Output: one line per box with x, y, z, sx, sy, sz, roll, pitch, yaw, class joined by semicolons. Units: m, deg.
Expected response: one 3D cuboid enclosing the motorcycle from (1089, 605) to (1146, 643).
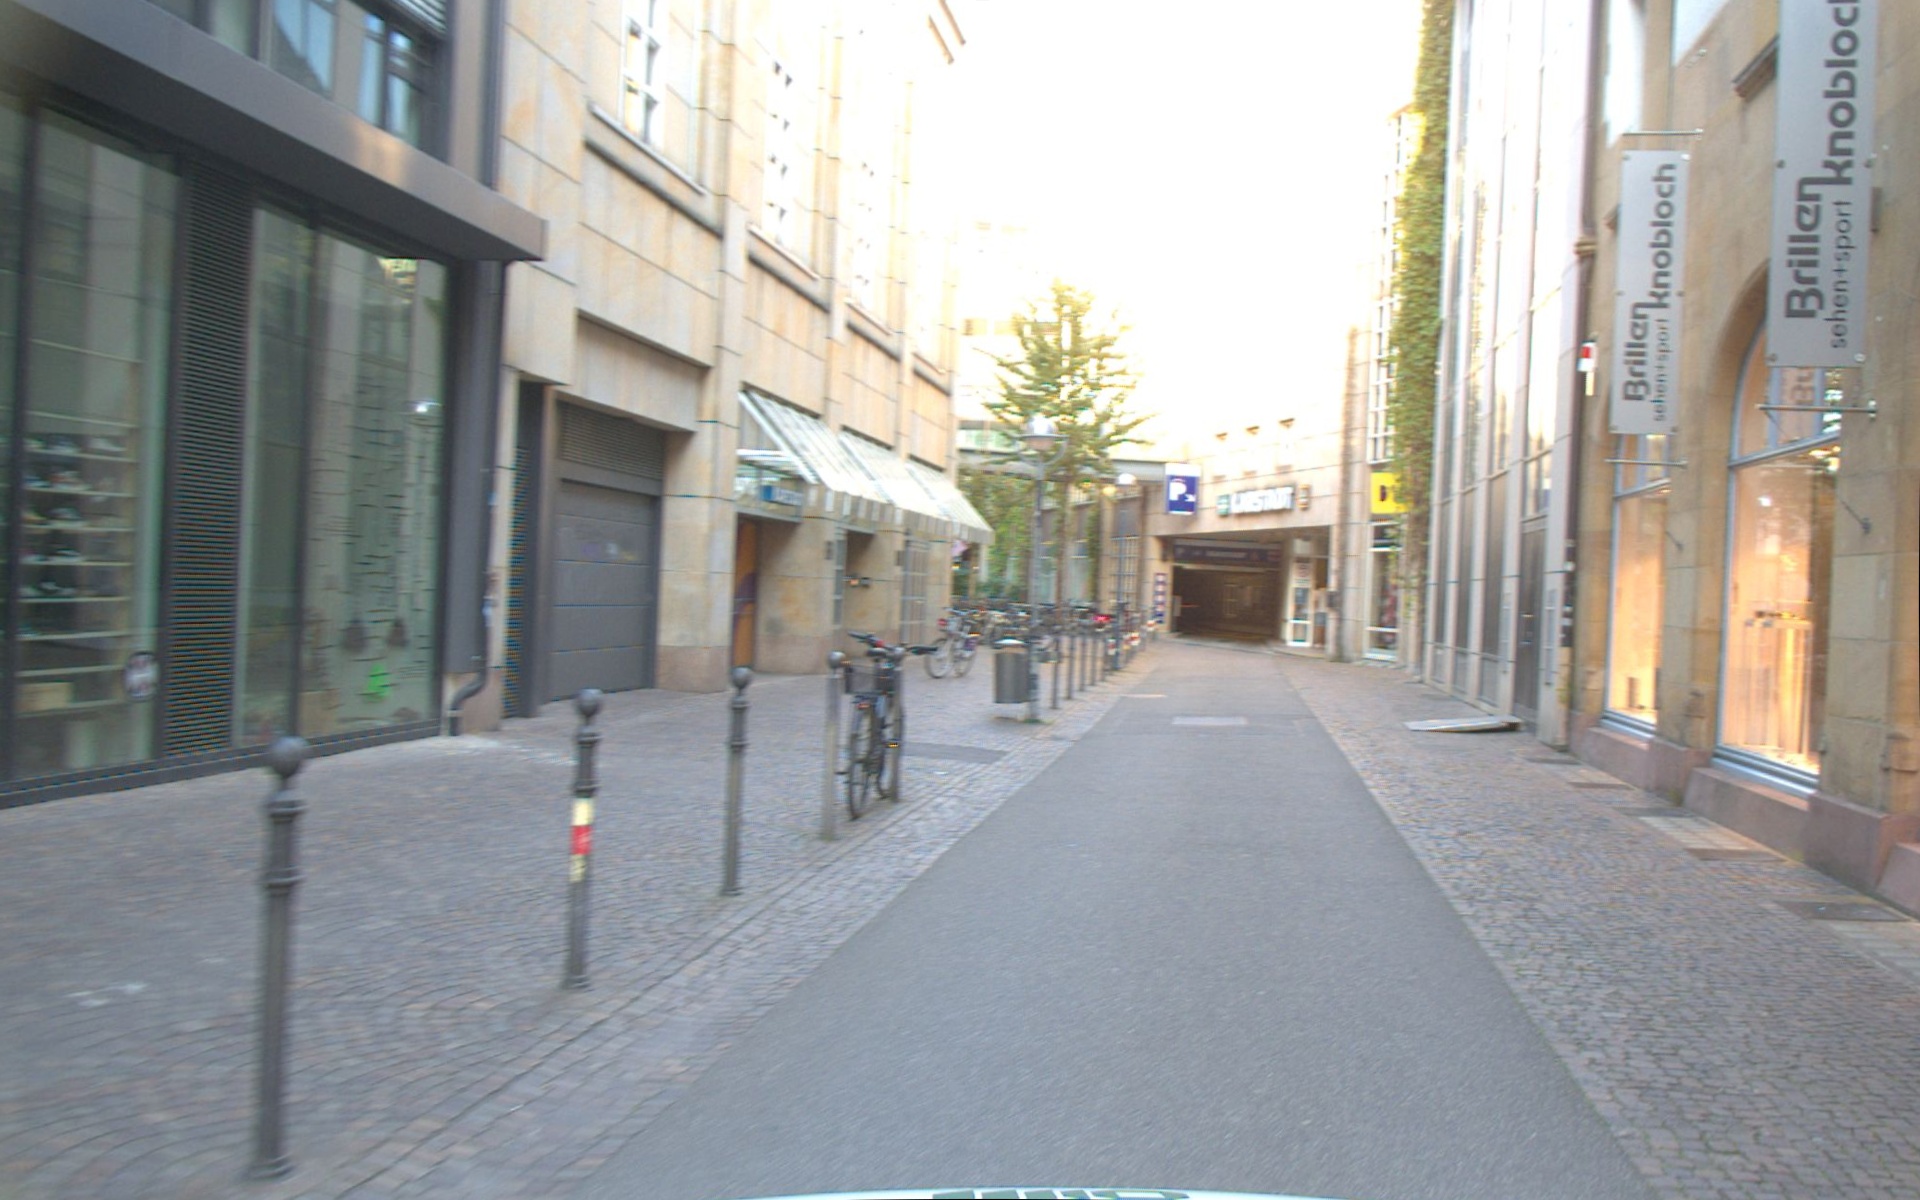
4.999;0.750;52.511;1.713;1.175;0.593;1;0;-8;motorcycle

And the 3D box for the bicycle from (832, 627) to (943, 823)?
-0.460;0.785;11.154;0.401;1.152;1.932;3;0;6;bicycle

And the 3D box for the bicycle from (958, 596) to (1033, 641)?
0.947;0.504;44.397;1.877;1.121;0.695;2;0;-8;bicycle

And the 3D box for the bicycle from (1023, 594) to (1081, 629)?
3.277;0.403;58.904;1.957;1.203;0.801;1;0;-10;bicycle

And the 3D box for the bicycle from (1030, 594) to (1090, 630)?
3.464;0.419;57.397;1.957;1.203;0.801;1;0;-10;bicycle

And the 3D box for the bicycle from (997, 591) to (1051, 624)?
2.455;0.286;63.284;1.957;1.203;0.692;1;0;-10;bicycle

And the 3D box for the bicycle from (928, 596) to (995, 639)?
0.047;0.510;49.209;1.877;1.203;0.695;2;0;-8;bicycle

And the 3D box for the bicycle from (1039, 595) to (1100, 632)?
3.717;0.458;56.204;1.957;1.203;0.801;1;0;-10;bicycle

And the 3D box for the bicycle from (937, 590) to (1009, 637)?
0.355;0.370;45.410;1.877;1.203;0.695;2;0;-8;bicycle

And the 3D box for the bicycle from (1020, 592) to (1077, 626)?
3.187;0.338;59.921;1.957;1.203;0.692;1;0;-10;bicycle

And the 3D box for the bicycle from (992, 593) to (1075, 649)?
1.800;0.508;40.684;1.878;1.283;0.806;2;0;-11;bicycle

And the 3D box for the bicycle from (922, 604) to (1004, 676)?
0.068;0.646;27.529;0.680;1.131;1.775;2;0;24;bicycle

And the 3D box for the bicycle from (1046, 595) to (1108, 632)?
3.902;0.463;55.279;1.957;1.203;0.694;1;0;-10;bicycle

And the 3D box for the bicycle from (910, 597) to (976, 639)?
-0.525;0.540;50.054;1.877;1.203;0.695;2;0;-8;bicycle

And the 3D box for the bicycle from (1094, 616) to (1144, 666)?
3.285;0.832;34.065;0.495;0.983;1.694;2;0;24;bicycle

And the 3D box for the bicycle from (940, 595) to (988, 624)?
0.175;0.415;71.808;1.957;1.203;0.692;1;0;-10;bicycle

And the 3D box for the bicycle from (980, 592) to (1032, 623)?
1.817;0.296;65.785;1.957;1.203;0.692;1;0;-10;bicycle

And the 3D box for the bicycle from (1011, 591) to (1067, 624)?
2.919;0.281;60.861;1.957;1.203;0.692;1;0;-10;bicycle

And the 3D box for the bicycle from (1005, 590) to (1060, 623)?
2.712;0.249;62.151;1.957;1.203;0.692;1;0;-10;bicycle

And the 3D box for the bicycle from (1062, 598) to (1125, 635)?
4.386;0.543;54.310;1.957;1.203;0.694;1;0;-10;bicycle

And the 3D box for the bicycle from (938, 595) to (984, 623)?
0.041;0.390;72.653;1.957;1.203;0.692;1;0;-10;bicycle

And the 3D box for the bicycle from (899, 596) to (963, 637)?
-0.903;0.511;51.175;1.877;1.203;0.695;2;0;-8;bicycle

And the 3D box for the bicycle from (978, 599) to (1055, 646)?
1.462;0.586;43.107;1.878;1.121;0.694;2;0;-11;bicycle

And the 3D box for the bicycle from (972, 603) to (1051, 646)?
1.309;0.631;42.199;1.878;1.011;0.694;2;0;-11;bicycle
